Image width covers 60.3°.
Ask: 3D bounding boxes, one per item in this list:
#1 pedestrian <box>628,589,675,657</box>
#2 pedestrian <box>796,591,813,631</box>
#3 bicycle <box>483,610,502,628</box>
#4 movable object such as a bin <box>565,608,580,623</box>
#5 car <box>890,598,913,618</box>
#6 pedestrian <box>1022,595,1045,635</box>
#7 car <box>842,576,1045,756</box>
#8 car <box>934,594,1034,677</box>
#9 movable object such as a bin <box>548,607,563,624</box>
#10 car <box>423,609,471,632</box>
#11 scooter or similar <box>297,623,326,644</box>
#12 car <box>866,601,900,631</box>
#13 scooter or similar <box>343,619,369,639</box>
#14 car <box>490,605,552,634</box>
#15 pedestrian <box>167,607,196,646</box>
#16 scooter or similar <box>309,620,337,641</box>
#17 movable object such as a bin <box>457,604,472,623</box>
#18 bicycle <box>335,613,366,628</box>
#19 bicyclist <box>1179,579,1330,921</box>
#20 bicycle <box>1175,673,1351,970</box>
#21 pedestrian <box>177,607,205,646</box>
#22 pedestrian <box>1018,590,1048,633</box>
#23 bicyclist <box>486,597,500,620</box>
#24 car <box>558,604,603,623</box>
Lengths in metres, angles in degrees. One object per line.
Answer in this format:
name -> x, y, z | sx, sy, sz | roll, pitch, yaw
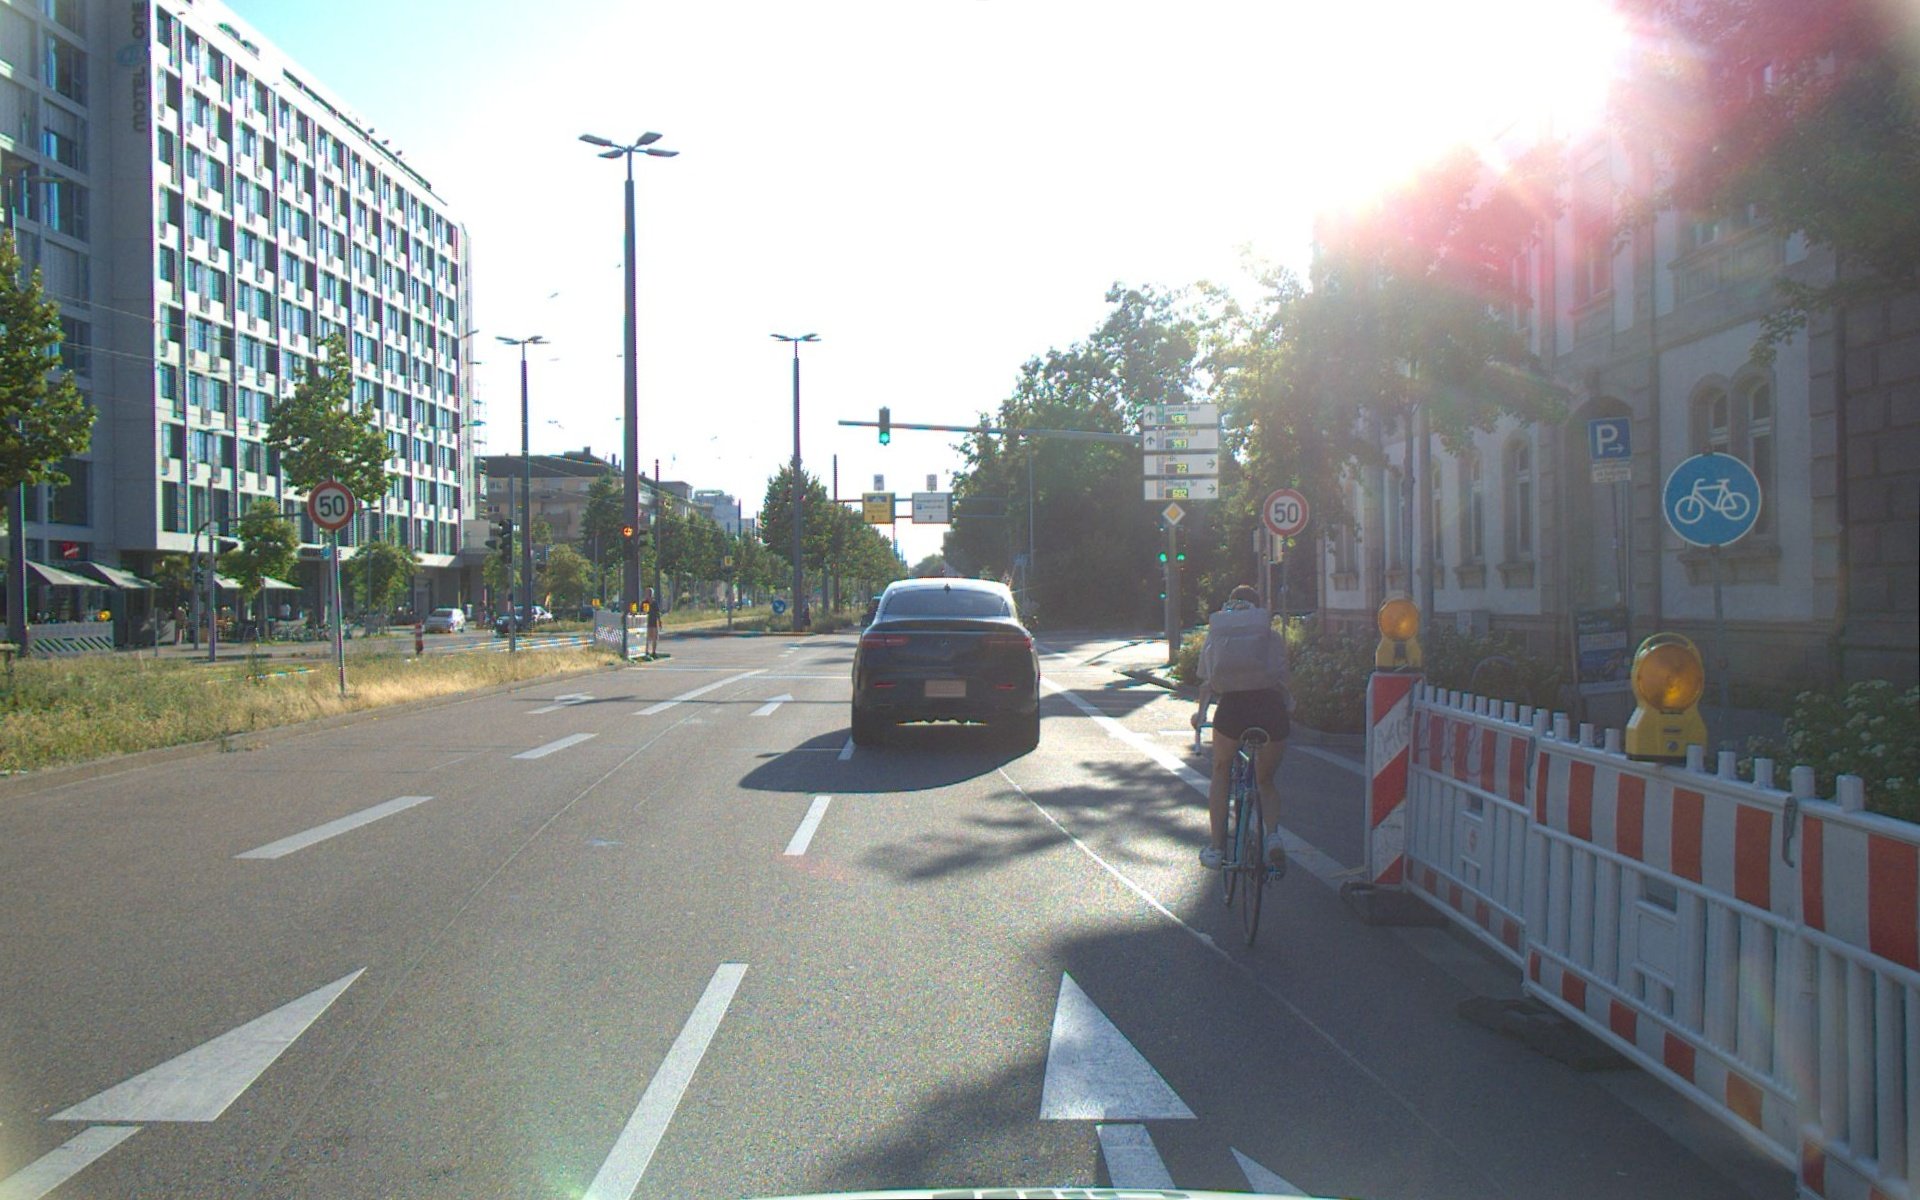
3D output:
pedestrian -> -7.761, 0.572, 41.621 | 0.904, 1.678, 0.766 | -1, 0, 11
pedestrian -> -6.812, 0.488, 72.341 | 0.586, 1.729, 0.714 | -1, 0, 4
bicycle -> -30.005, 1.222, 106.203 | 0.612, 1.085, 2.078 | -1, 0, 0
movable object such as a bin -> -32.268, 1.287, 137.759 | 0.839, 1.303, 0.940 | -1, 0, 14
car -> -4.921, 0.701, 139.305 | 1.847, 1.608, 3.999 | 0, 1, -1
pedestrian -> 3.160, 0.647, 71.113 | 0.752, 1.665, 0.768 | -3, 0, -10
car -> -0.063, 0.627, 18.292 | 1.952, 1.765, 4.002 | 0, 1, 3
car -> 0.429, 0.667, 33.199 | 1.858, 1.554, 4.058 | 0, 0, -1
movable object such as a bin -> -33.624, 1.275, 137.417 | 0.839, 1.381, 0.940 | -1, 0, 14
car -> -32.164, 1.288, 103.800 | 1.721, 1.351, 4.000 | 0, 0, 0
scooter or similar -> -32.208, 1.671, 82.176 | 1.218, 1.037, 0.511 | -1, 0, 0
car -> -4.362, 0.886, 94.305 | 1.847, 1.608, 3.999 | 0, 1, -1
scooter or similar -> -32.214, 1.555, 88.247 | 1.218, 1.037, 0.435 | -1, 0, 0
car -> -21.915, 0.938, 82.692 | 1.853, 1.367, 4.849 | -1, 0, -1
pedestrian -> -35.649, 1.224, 75.758 | 0.851, 1.751, 0.804 | -1, 0, 9
scooter or similar -> -32.249, 1.561, 83.702 | 1.218, 1.037, 0.435 | -1, 0, 0
movable object such as a bin -> -39.745, 1.080, 132.783 | 0.784, 1.465, 1.403 | -1, 0, 0
bicycle -> -39.717, 1.323, 107.765 | 1.770, 0.921, 0.511 | -1, 0, -7
bicyclist -> 1.385, 0.666, 7.910 | 0.541, 1.517, 1.081 | -1, 0, 2
bicycle -> 1.366, 0.955, 7.734 | 0.510, 1.116, 1.843 | -1, 0, 1
pedestrian -> -35.581, 1.224, 76.553 | 0.851, 1.751, 0.804 | -1, 0, 9
pedestrian -> 3.167, 0.495, 72.026 | 0.850, 1.833, 0.896 | -3, 0, -35
bicyclist -> -30.001, 0.538, 106.224 | 0.612, 1.490, 0.851 | -1, 0, 0
car -> -33.585, 1.207, 146.422 | 3.594, 1.550, 1.596 | 2, -1, -42
